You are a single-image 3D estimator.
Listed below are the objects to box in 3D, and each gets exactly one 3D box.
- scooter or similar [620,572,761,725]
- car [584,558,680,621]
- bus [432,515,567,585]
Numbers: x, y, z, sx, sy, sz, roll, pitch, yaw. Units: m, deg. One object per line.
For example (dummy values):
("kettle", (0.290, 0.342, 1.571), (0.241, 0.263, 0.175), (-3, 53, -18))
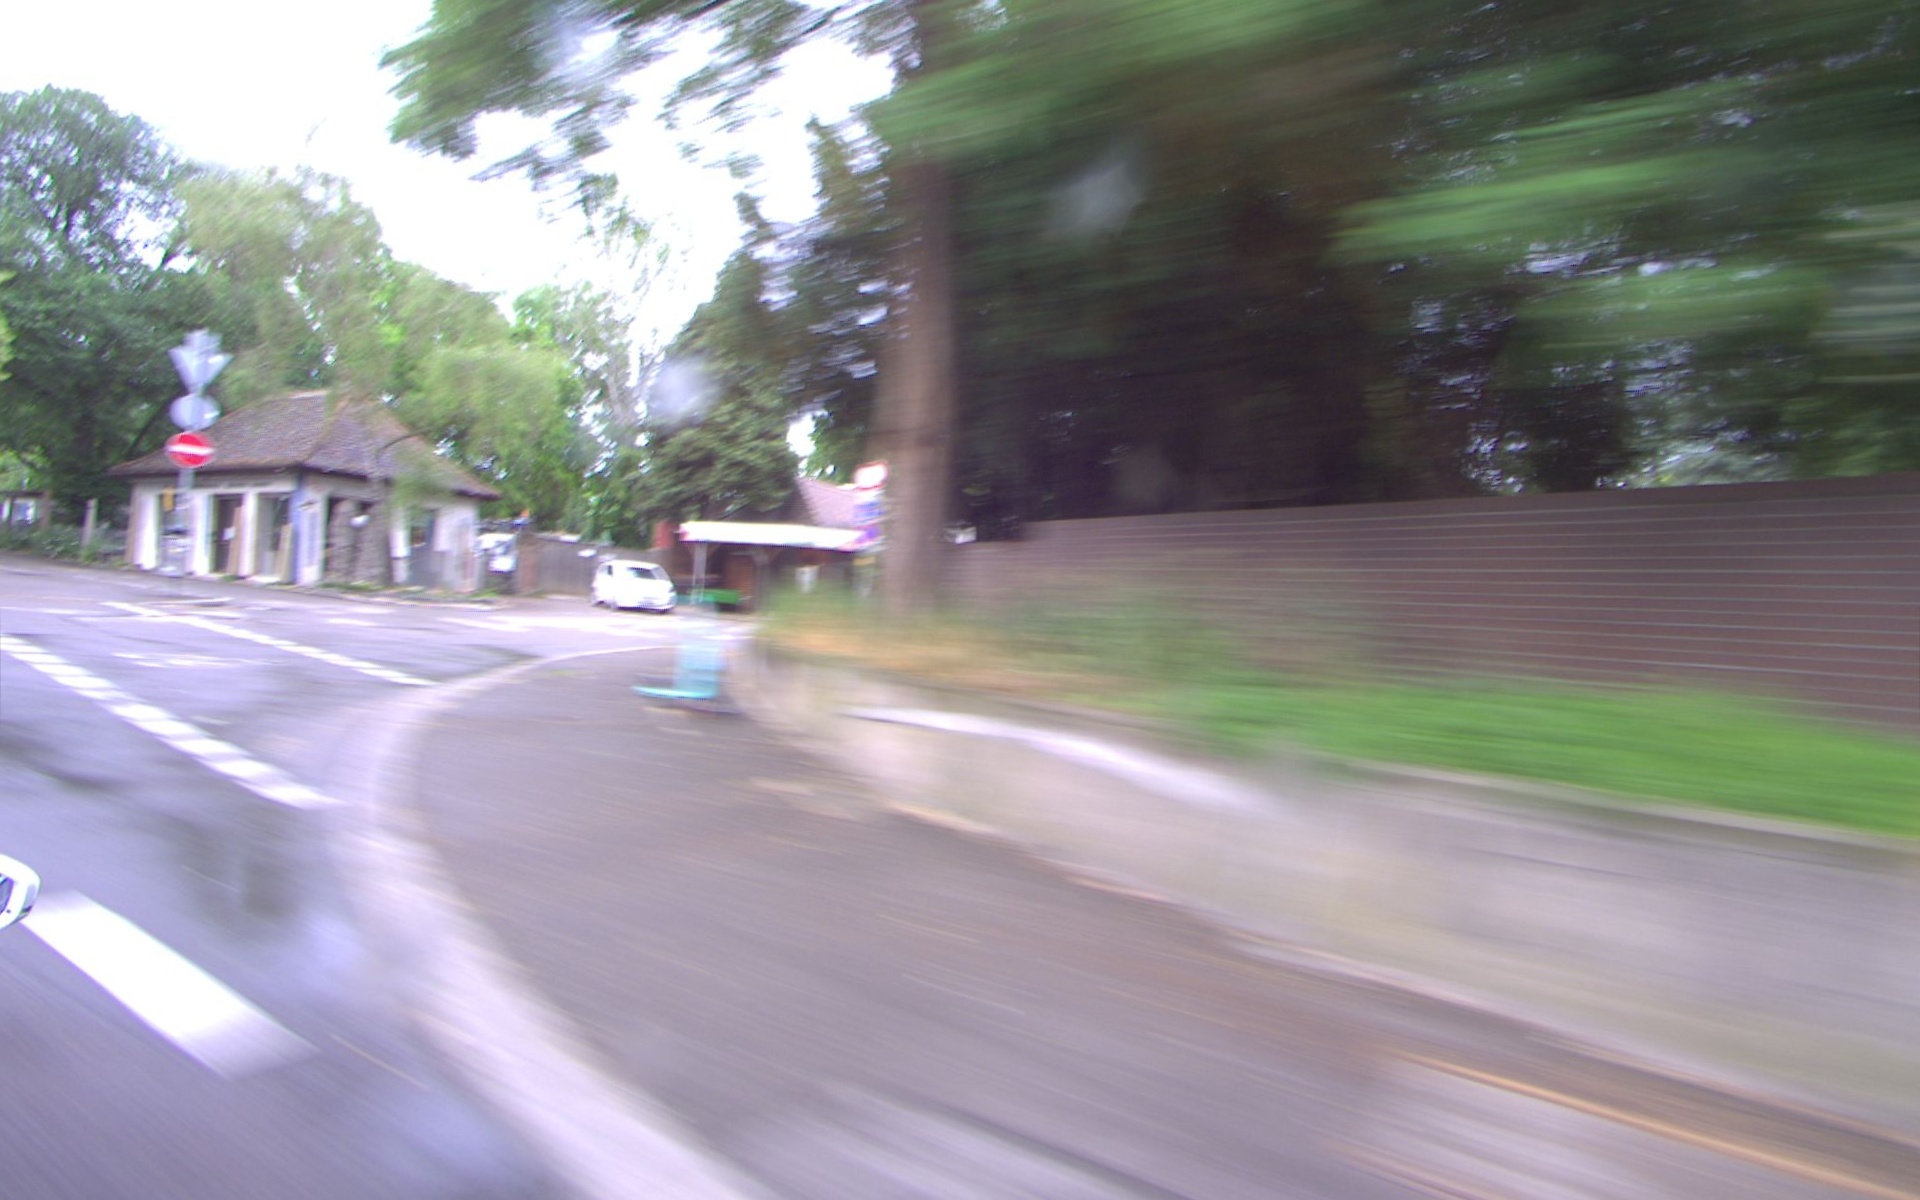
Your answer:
("scooter or similar", (-2.477, 0.411, 9.185), (1.295, 1.248, 0.513), (6, 3, 37))
("car", (-10.176, -0.369, 31.059), (1.815, 1.598, 3.729), (6, 0, -33))
("bus", (-22.245, -2.433, 48.450), (7.050, 2.734, 2.254), (6, 0, 32))
